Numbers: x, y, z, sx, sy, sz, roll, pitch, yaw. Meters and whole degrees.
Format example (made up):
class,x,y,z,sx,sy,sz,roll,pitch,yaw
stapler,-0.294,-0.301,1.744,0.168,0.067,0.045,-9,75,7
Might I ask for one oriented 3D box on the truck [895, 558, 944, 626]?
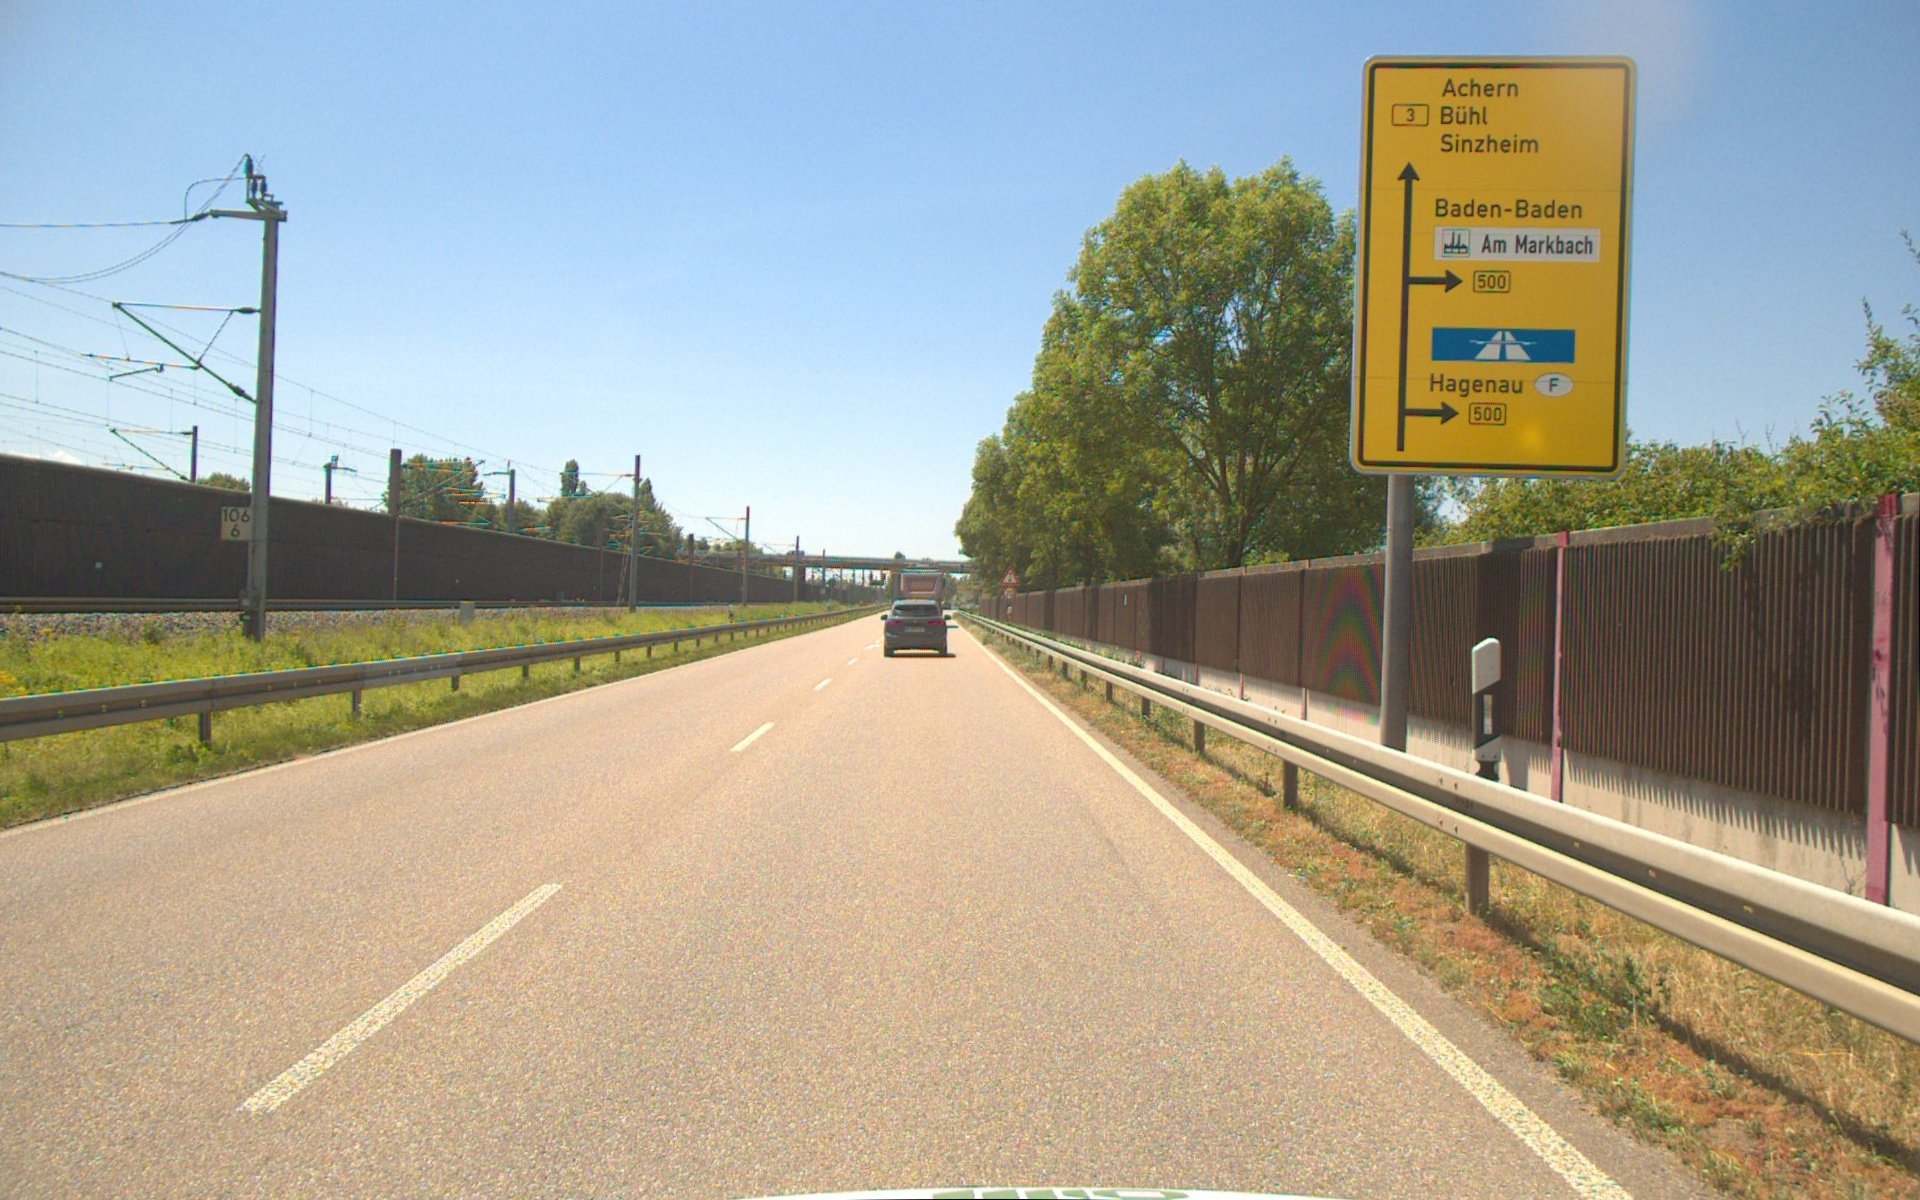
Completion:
class,x,y,z,sx,sy,sz,roll,pitch,yaw
truck,-2.434,-0.430,101.308,2.776,3.888,11.882,1,0,-1

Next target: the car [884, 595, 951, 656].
class,x,y,z,sx,sy,sz,roll,pitch,yaw
car,-1.170,0.697,47.366,1.807,1.651,4.225,1,0,0
